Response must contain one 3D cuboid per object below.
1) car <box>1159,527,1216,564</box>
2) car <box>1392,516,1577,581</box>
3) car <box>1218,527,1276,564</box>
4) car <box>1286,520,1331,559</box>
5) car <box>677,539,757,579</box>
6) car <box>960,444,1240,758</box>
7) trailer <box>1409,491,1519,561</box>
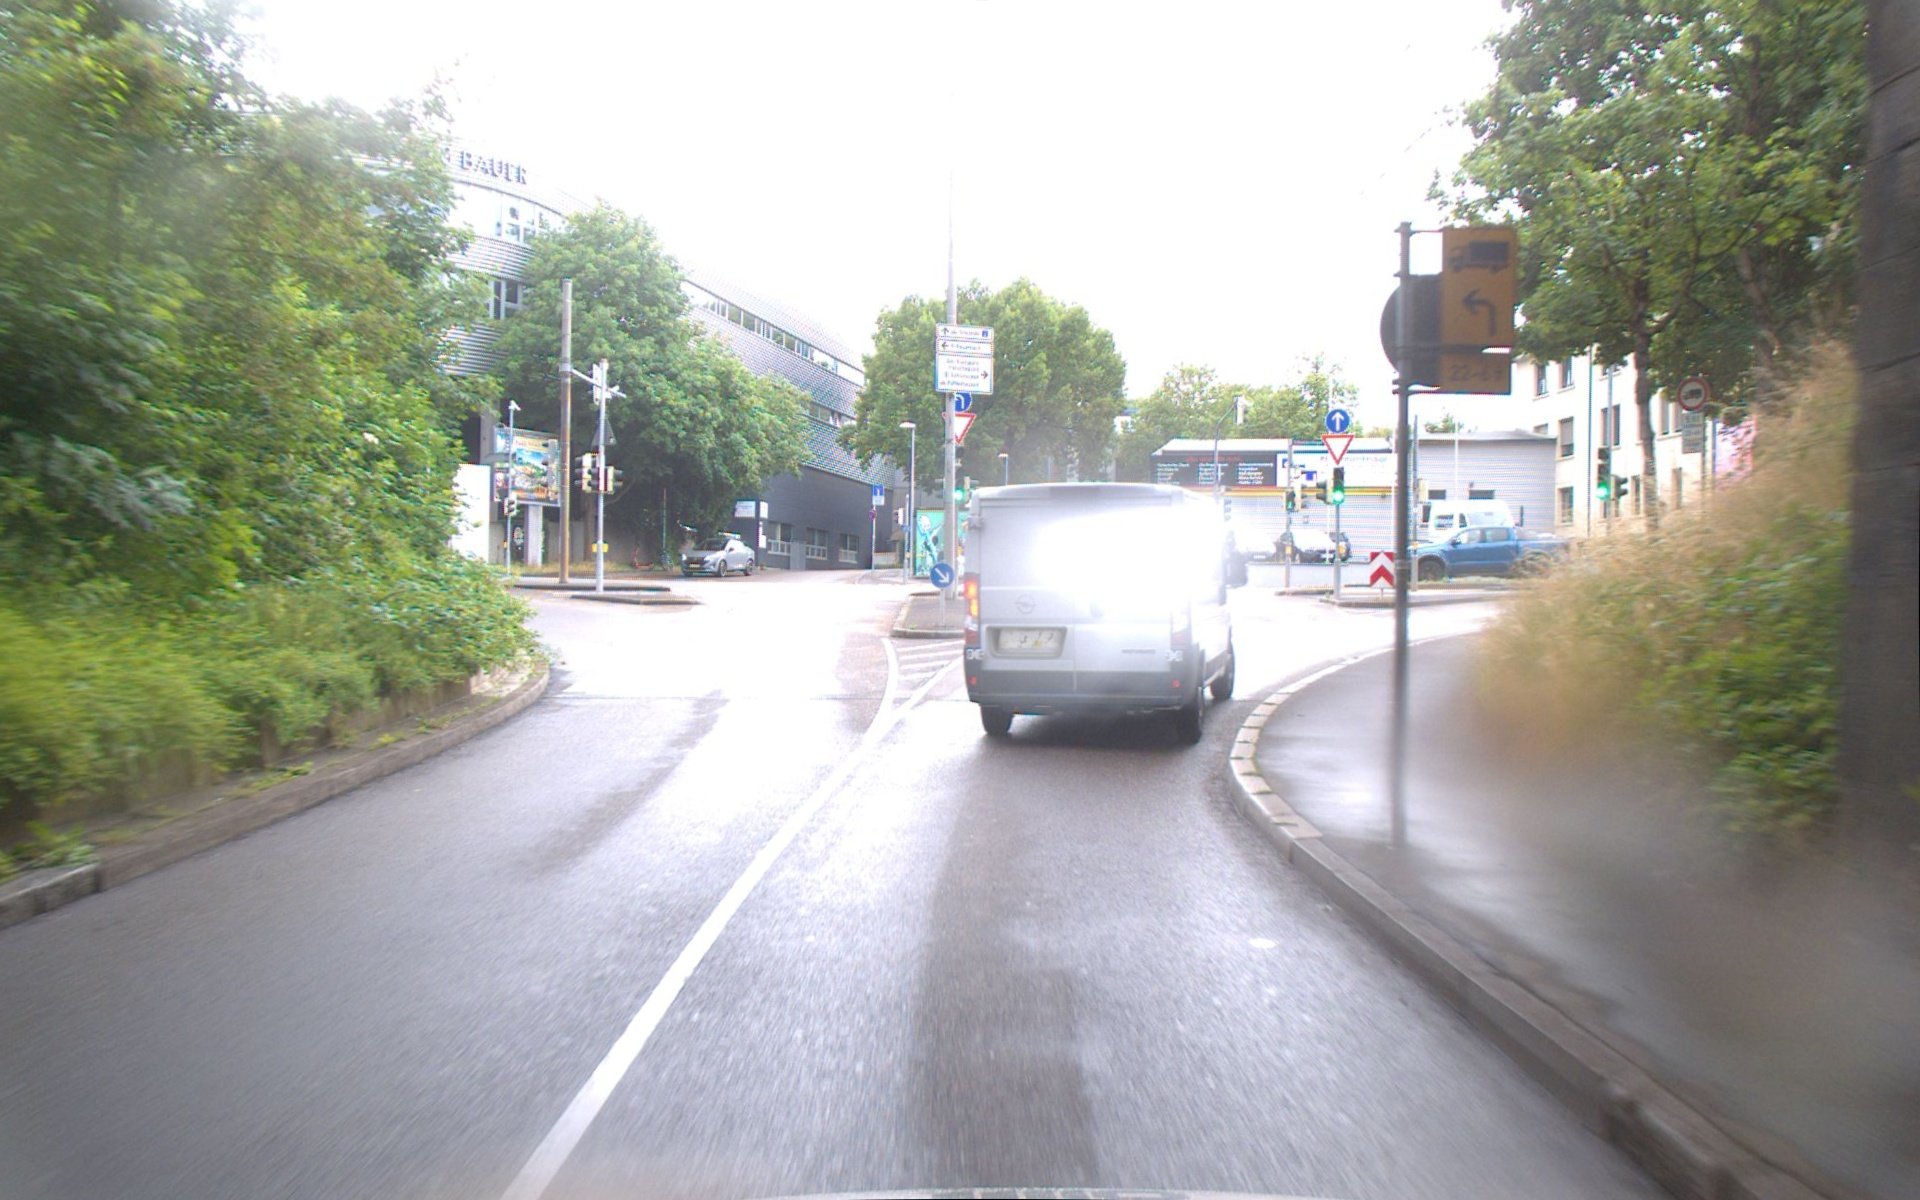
[{"bbox_3d":[8.944,-2.155,65.166,1.828,1.392,3.625,0,3,1],"label":"car"},{"bbox_3d":[15.935,-1.547,50.440,5.046,1.850,1.940,-1,0,1],"label":"car"},{"bbox_3d":[11.127,-2.138,64.328,1.700,1.392,3.625,0,3,1],"label":"car"},{"bbox_3d":[13.511,-2.366,64.229,1.198,1.449,2.688,0,2,1],"label":"car"},{"bbox_3d":[-10.520,-1.800,72.022,1.984,1.627,4.386,1,3,13],"label":"car"},{"bbox_3d":[1.539,-0.159,16.099,2.006,2.559,4.950,1,4,13],"label":"car"},{"bbox_3d":[20.602,-2.975,68.007,2.338,2.471,7.120,1,0,0],"label":"trailer"}]
